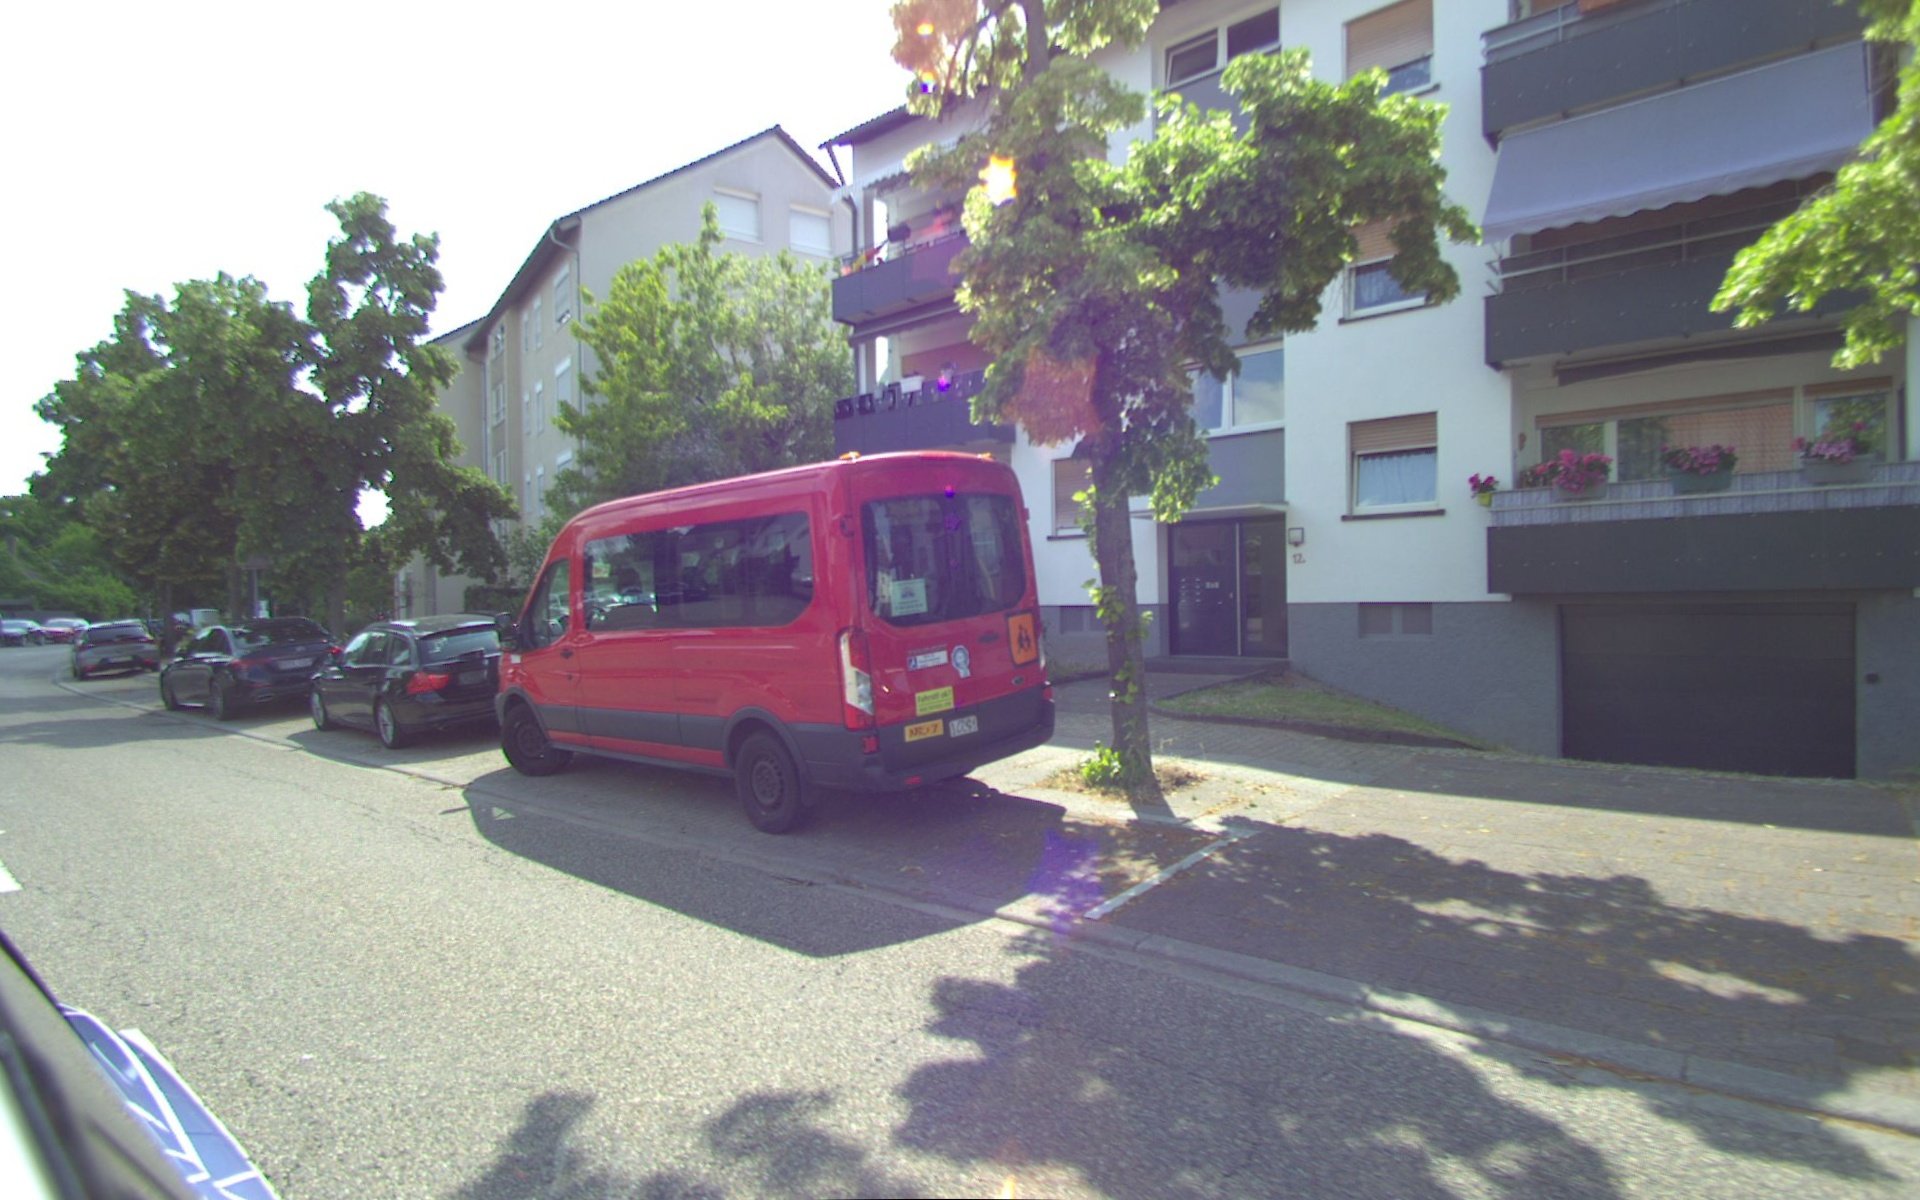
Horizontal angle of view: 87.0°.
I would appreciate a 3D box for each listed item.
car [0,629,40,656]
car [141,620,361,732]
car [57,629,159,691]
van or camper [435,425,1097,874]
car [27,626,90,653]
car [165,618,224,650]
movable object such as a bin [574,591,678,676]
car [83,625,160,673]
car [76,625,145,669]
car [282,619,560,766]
[{"bbox_3d":[-52.894,2.330,56.094,1.814,1.429,3.901,-1,-1,-26],"label":"car"},{"bbox_3d":[-11.674,1.165,16.543,4.626,1.488,1.714,-2,1,39],"label":"car"},{"bbox_3d":[-23.551,1.592,27.920,1.735,1.429,4.002,-6,3,-45],"label":"car"},{"bbox_3d":[-2.072,0.314,8.660,6.221,2.568,2.126,-2,2,42],"label":"van or camper"},{"bbox_3d":[-55.292,2.424,62.156,1.756,1.497,4.295,3,-3,-26],"label":"car"},{"bbox_3d":[-44.425,1.972,58.819,1.792,1.737,3.694,-1,-1,-21],"label":"car"},{"bbox_3d":[-6.199,0.612,18.794,1.303,1.497,1.284,-3,-1,35],"label":"movable object such as a bin"},{"bbox_3d":[-30.358,1.755,36.601,1.735,1.499,3.684,-6,2,-45],"label":"car"},{"bbox_3d":[-33.845,1.859,40.287,1.735,1.499,3.684,-6,2,-45],"label":"car"},{"bbox_3d":[-6.943,1.028,12.806,4.464,1.447,1.670,-2,2,43],"label":"car"}]
